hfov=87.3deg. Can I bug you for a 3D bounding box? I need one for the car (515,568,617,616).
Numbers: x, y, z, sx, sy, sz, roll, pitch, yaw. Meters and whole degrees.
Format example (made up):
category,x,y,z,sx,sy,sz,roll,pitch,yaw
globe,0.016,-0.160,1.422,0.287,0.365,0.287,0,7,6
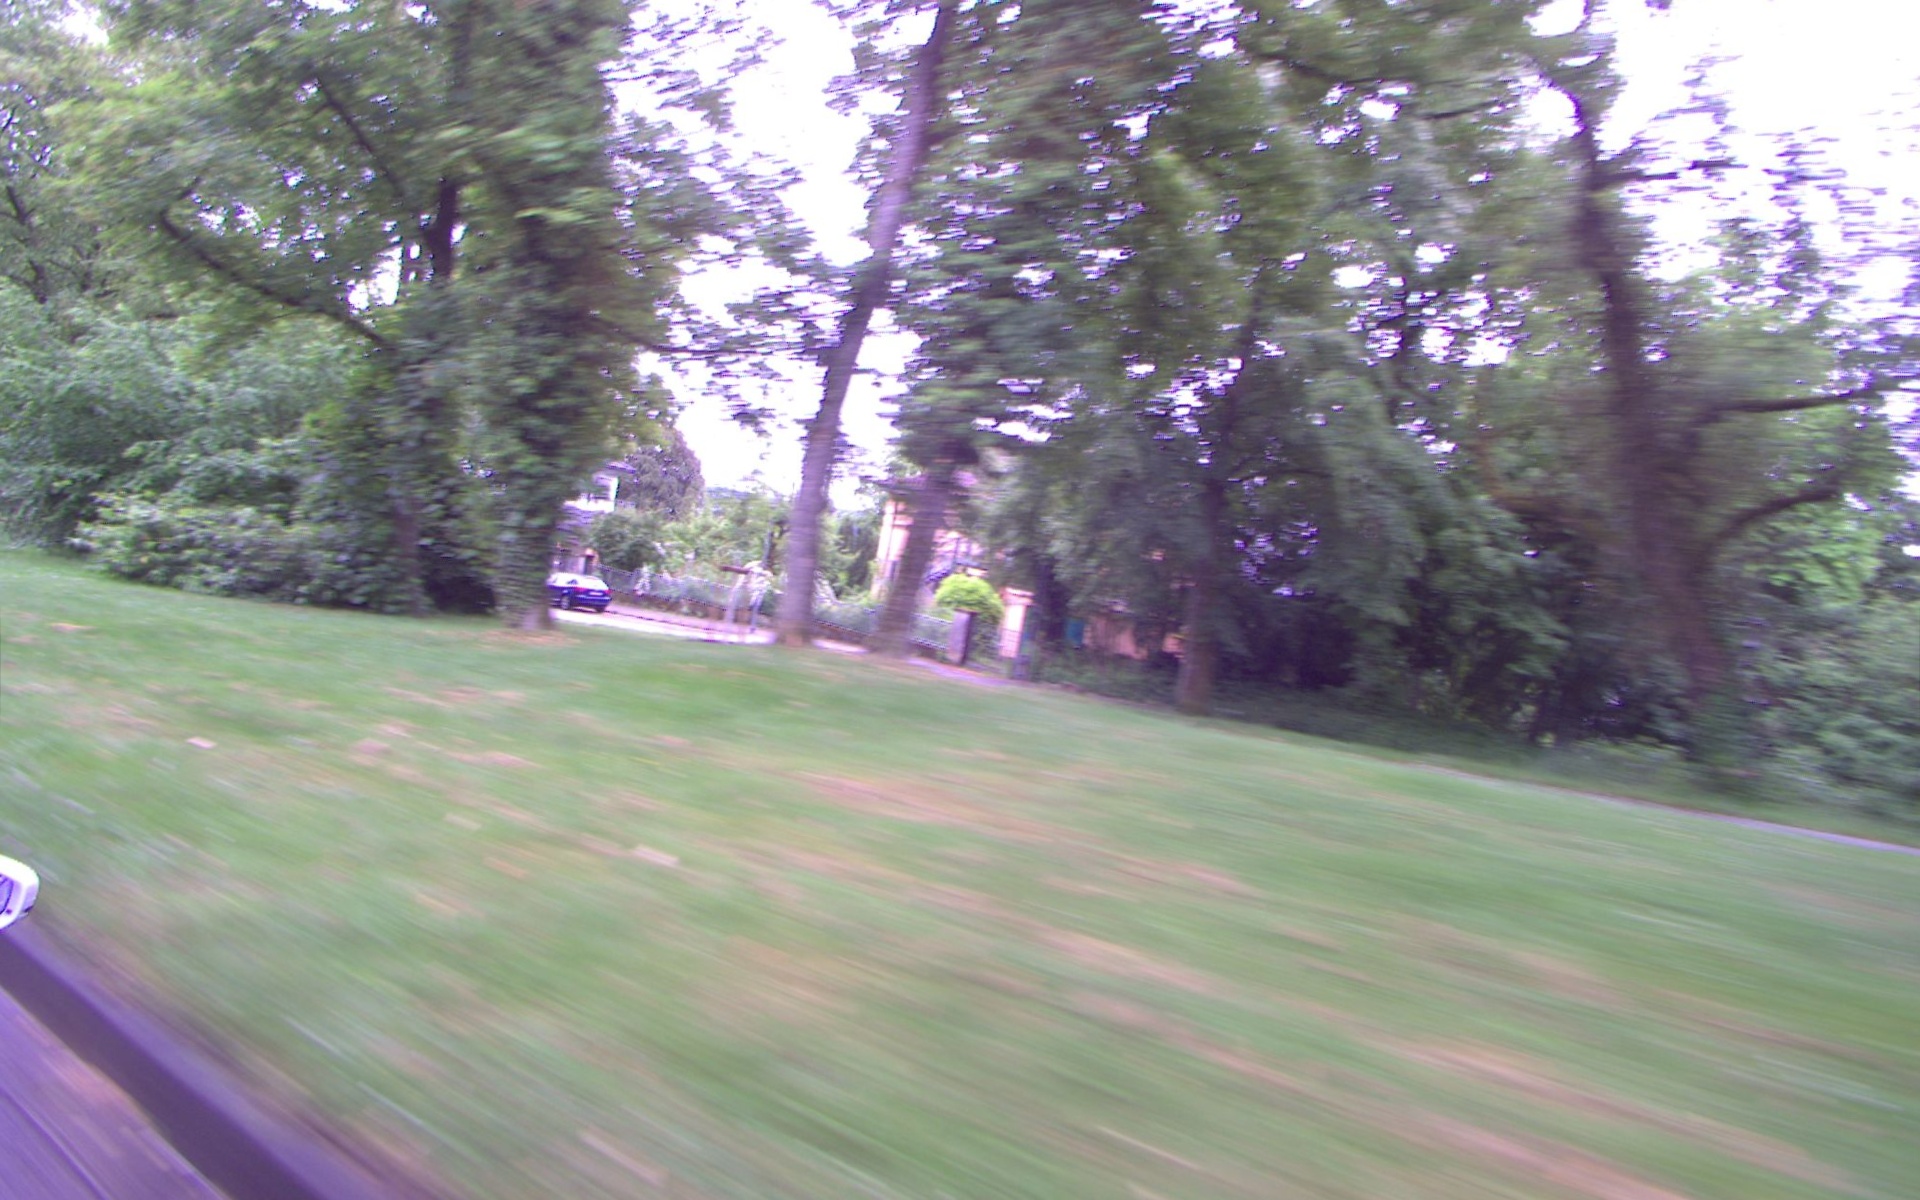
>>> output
category,x,y,z,sx,sy,sz,roll,pitch,yaw
car,-15.859,-0.337,40.431,3.996,1.499,1.645,6,1,32
